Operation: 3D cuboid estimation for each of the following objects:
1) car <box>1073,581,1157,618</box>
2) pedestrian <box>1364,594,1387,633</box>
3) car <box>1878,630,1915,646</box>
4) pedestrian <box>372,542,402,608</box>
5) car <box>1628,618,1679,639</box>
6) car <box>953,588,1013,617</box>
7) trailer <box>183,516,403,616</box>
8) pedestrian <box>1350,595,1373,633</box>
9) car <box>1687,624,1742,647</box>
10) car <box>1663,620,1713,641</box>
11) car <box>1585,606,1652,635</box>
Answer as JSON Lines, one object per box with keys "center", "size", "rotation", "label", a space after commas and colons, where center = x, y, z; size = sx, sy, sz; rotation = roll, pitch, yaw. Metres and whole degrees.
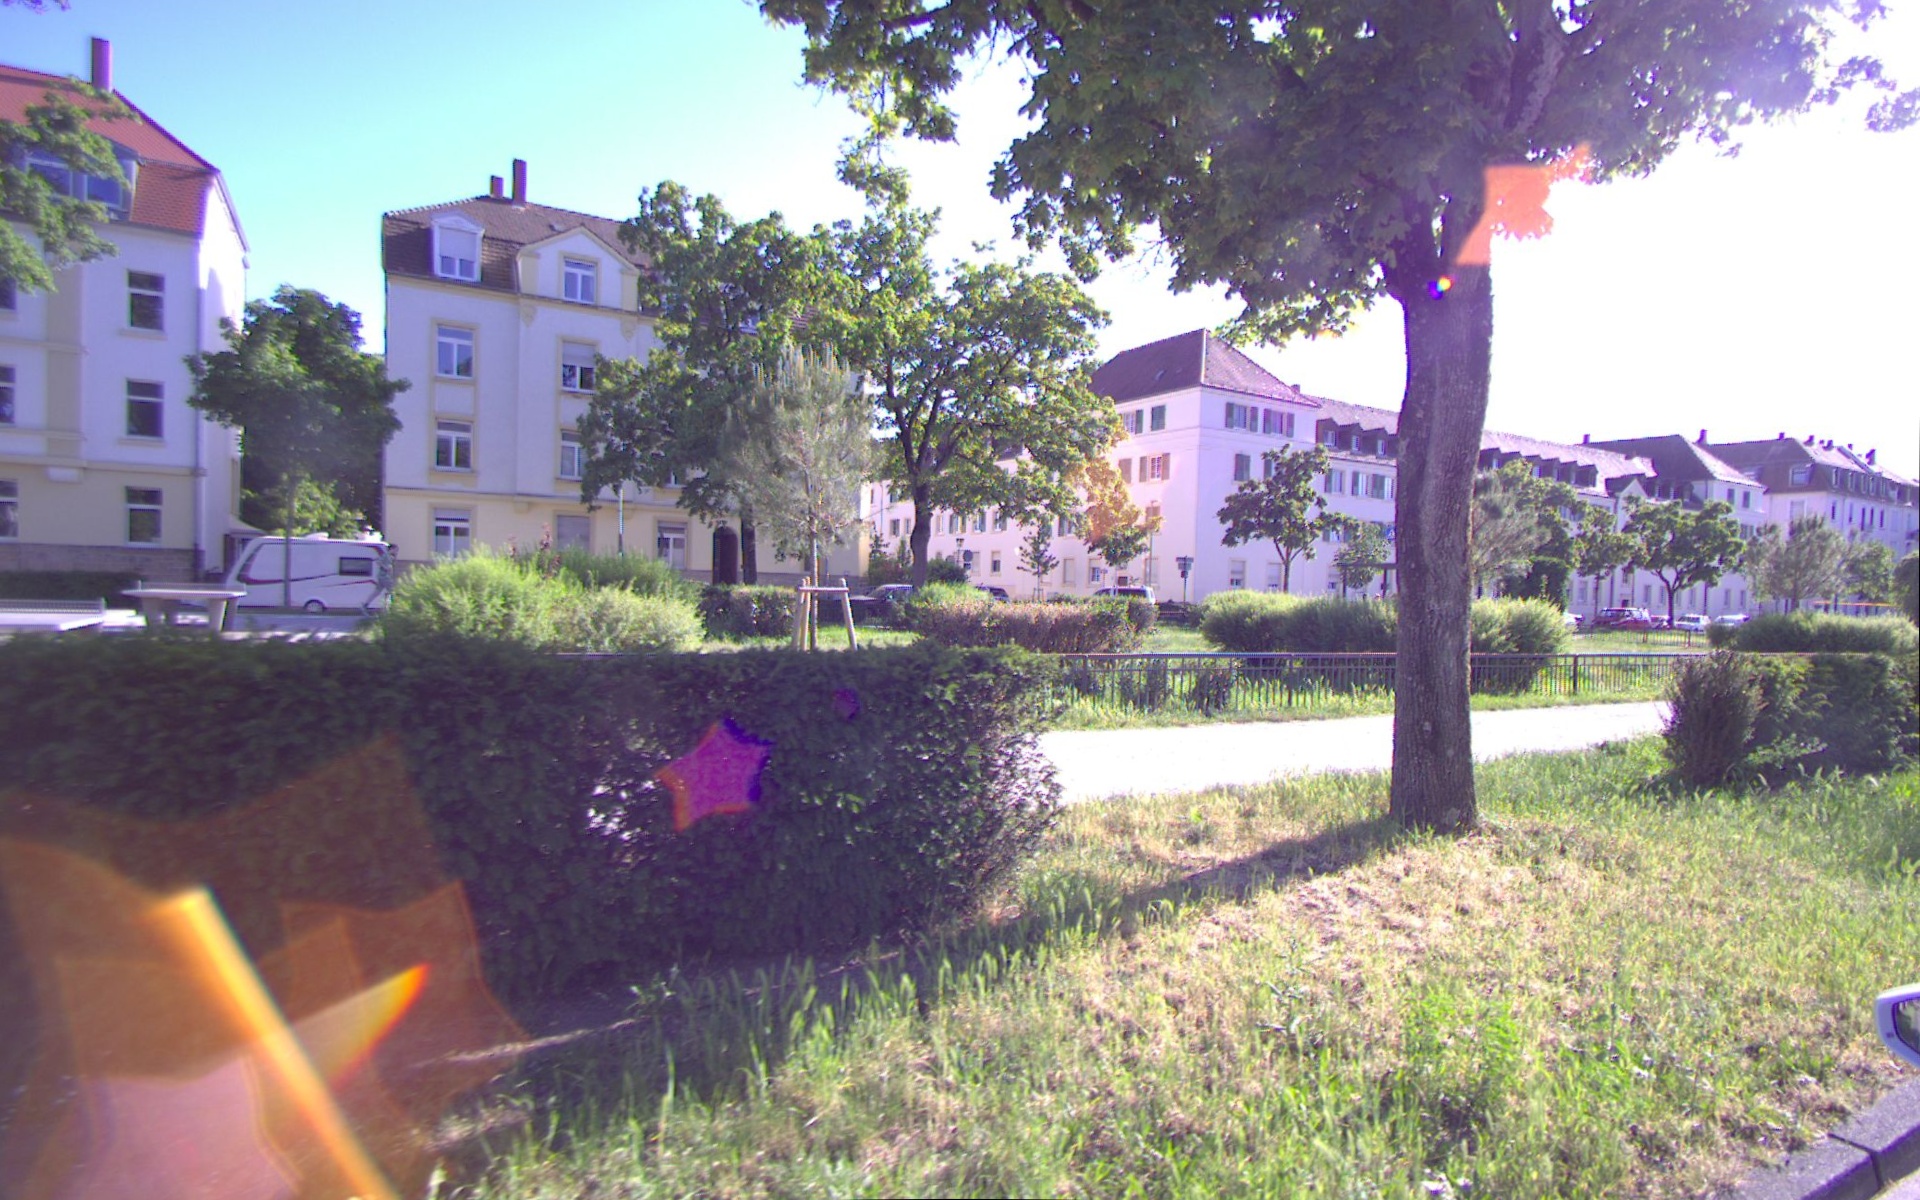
{"center": [7.903, -0.038, 51.151], "size": [3.921, 1.674, 1.800], "rotation": [3, 1, 19], "label": "car"}
{"center": [18.657, 0.620, 45.096], "size": [0.642, 1.721, 0.645], "rotation": [2, 0, -30], "label": "pedestrian"}
{"center": [99.607, 4.022, 106.785], "size": [3.954, 1.530, 1.785], "rotation": [2, 1, -31], "label": "car"}
{"center": [-15.008, -0.637, 26.314], "size": [0.642, 1.683, 0.645], "rotation": [2, 0, -30], "label": "pedestrian"}
{"center": [54.931, 2.278, 79.531], "size": [3.953, 1.530, 1.785], "rotation": [2, 1, -30], "label": "car"}
{"center": [1.346, 0.158, 61.108], "size": [1.780, 1.587, 3.966], "rotation": [2, 1, -31], "label": "car"}
{"center": [-21.460, -1.045, 32.688], "size": [5.737, 2.909, 2.331], "rotation": [2, 2, -31], "label": "trailer"}
{"center": [18.278, 0.629, 45.708], "size": [0.642, 1.721, 0.645], "rotation": [2, 0, -30], "label": "pedestrian"}
{"center": [55.393, 2.601, 73.701], "size": [3.953, 1.530, 1.785], "rotation": [2, 1, -30], "label": "car"}
{"center": [59.842, 2.520, 82.553], "size": [3.953, 1.530, 1.785], "rotation": [2, 1, -30], "label": "car"}
{"center": [43.335, 1.329, 66.087], "size": [4.647, 1.733, 1.785], "rotation": [2, 1, -30], "label": "car"}
